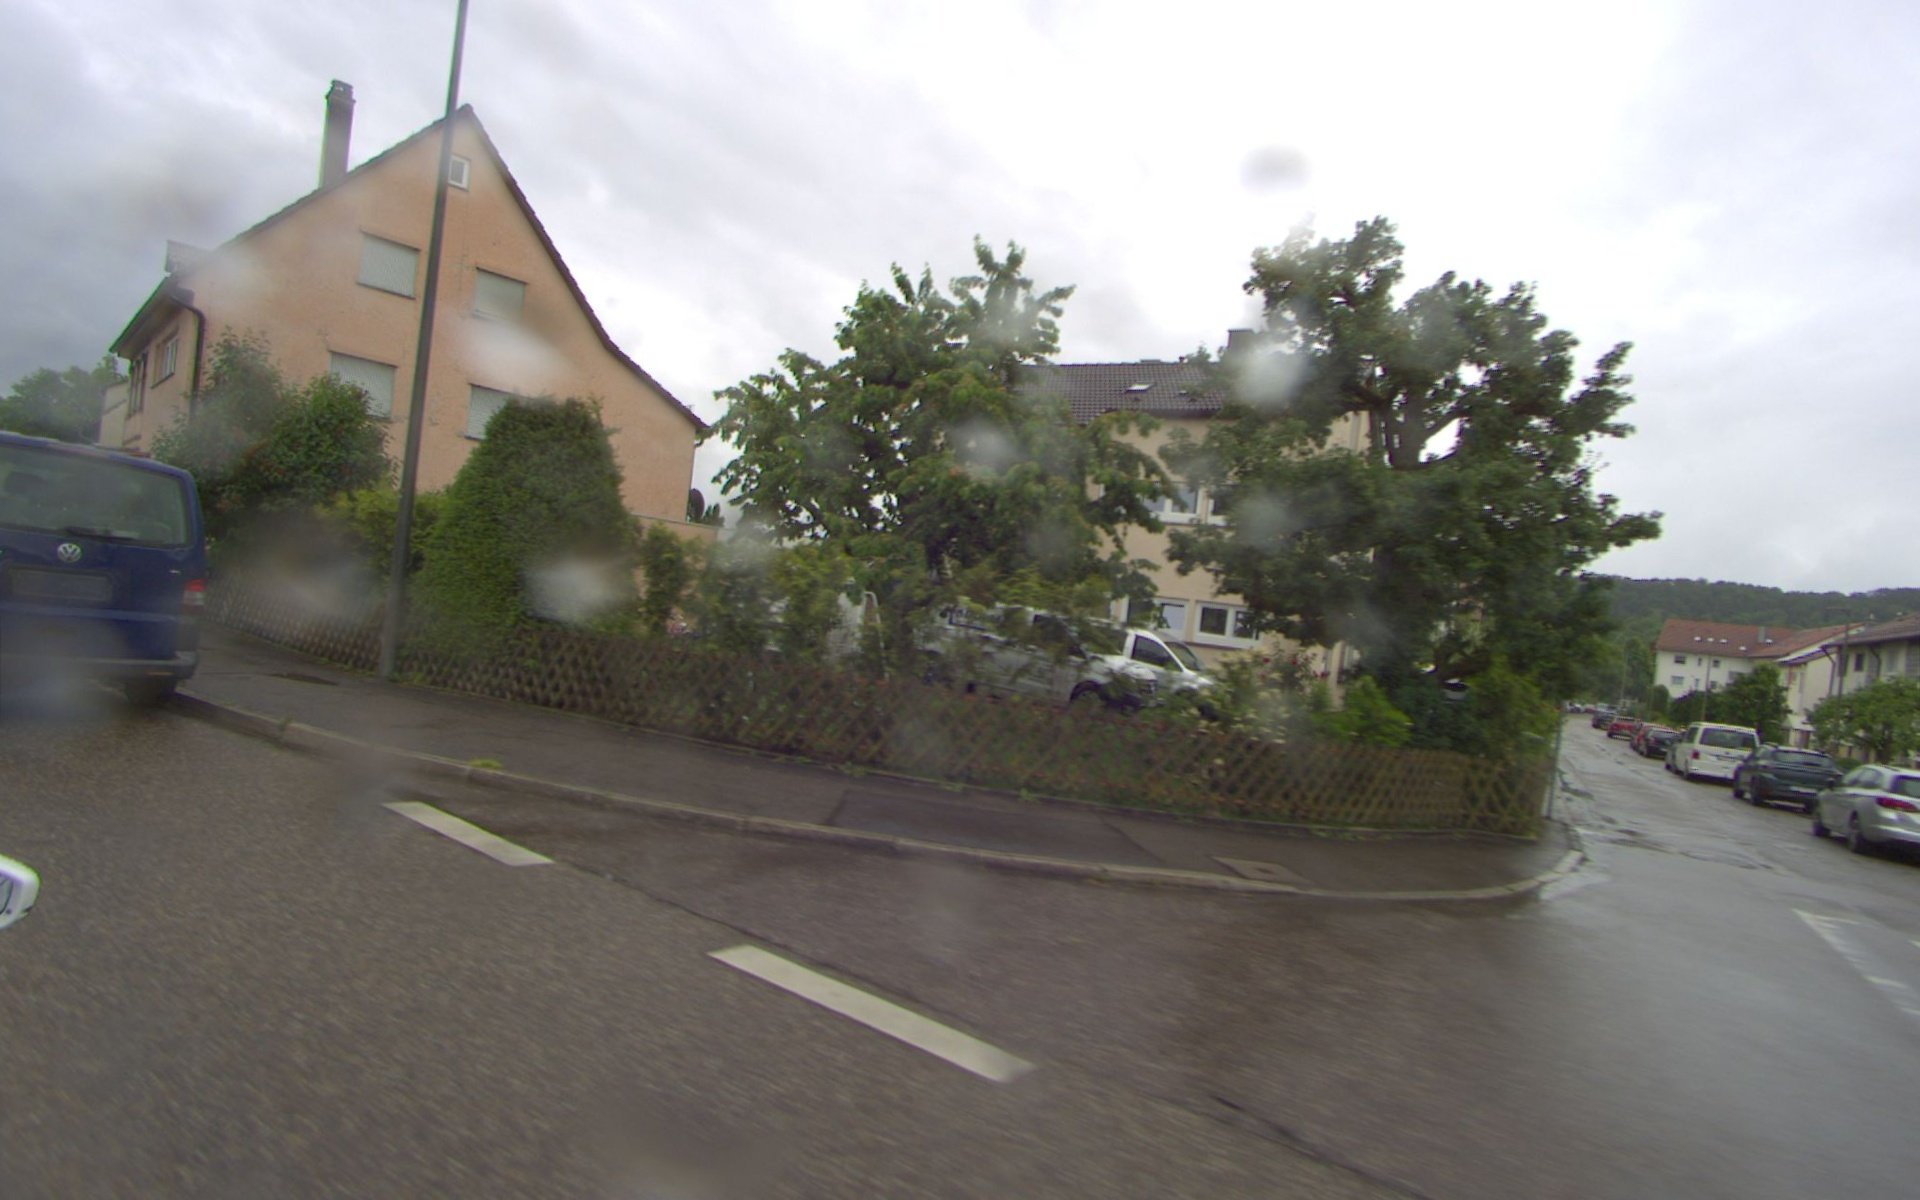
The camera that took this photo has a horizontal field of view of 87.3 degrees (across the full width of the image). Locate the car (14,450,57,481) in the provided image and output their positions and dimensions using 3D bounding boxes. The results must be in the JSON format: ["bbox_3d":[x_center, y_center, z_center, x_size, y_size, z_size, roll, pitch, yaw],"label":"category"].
[{"bbox_3d":[-54.341,-7.882,59.176,1.631,1.447,3.635,7,0,-41],"label":"car"}]

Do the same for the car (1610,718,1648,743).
[{"bbox_3d":[47.171,9.179,70.958,1.813,1.369,3.575,6,-1,30],"label":"car"}]

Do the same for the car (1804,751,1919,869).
[{"bbox_3d":[15.843,3.514,16.825,1.789,1.472,3.994,6,-1,30],"label":"car"}]

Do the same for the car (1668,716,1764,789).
[{"bbox_3d":[25.640,5.105,34.277,1.813,1.929,4.616,7,-1,29],"label":"car"}]

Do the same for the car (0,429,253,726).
[{"bbox_3d":[-7.984,-0.312,8.295,4.719,1.924,1.932,6,-2,36],"label":"car"}]

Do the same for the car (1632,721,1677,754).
[{"bbox_3d":[37.676,7.439,54.632,1.572,1.369,3.575,6,-1,30],"label":"car"}]

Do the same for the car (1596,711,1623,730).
[{"bbox_3d":[56.681,10.490,87.793,1.664,1.369,3.300,6,-1,30],"label":"car"}]

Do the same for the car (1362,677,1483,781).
[{"bbox_3d":[10.240,2.783,22.563,1.858,1.692,3.999,7,1,18],"label":"car"}]

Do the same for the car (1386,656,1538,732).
[{"bbox_3d":[18.683,3.495,37.579,4.752,2.077,1.950,7,-1,28],"label":"car"}]

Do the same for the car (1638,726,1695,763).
[{"bbox_3d":[34.944,7.111,49.819,1.813,1.369,3.575,6,-1,30],"label":"car"}]

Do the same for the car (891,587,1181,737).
[{"bbox_3d":[1.434,1.166,19.682,5.097,2.108,1.950,7,-1,30],"label":"car"}]

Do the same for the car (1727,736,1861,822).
[{"bbox_3d":[21.144,4.473,25.672,1.789,1.574,3.994,6,-1,30],"label":"car"}]

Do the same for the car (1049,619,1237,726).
[{"bbox_3d":[4.043,1.591,22.323,3.580,1.839,1.659,7,-1,32],"label":"car"}]
